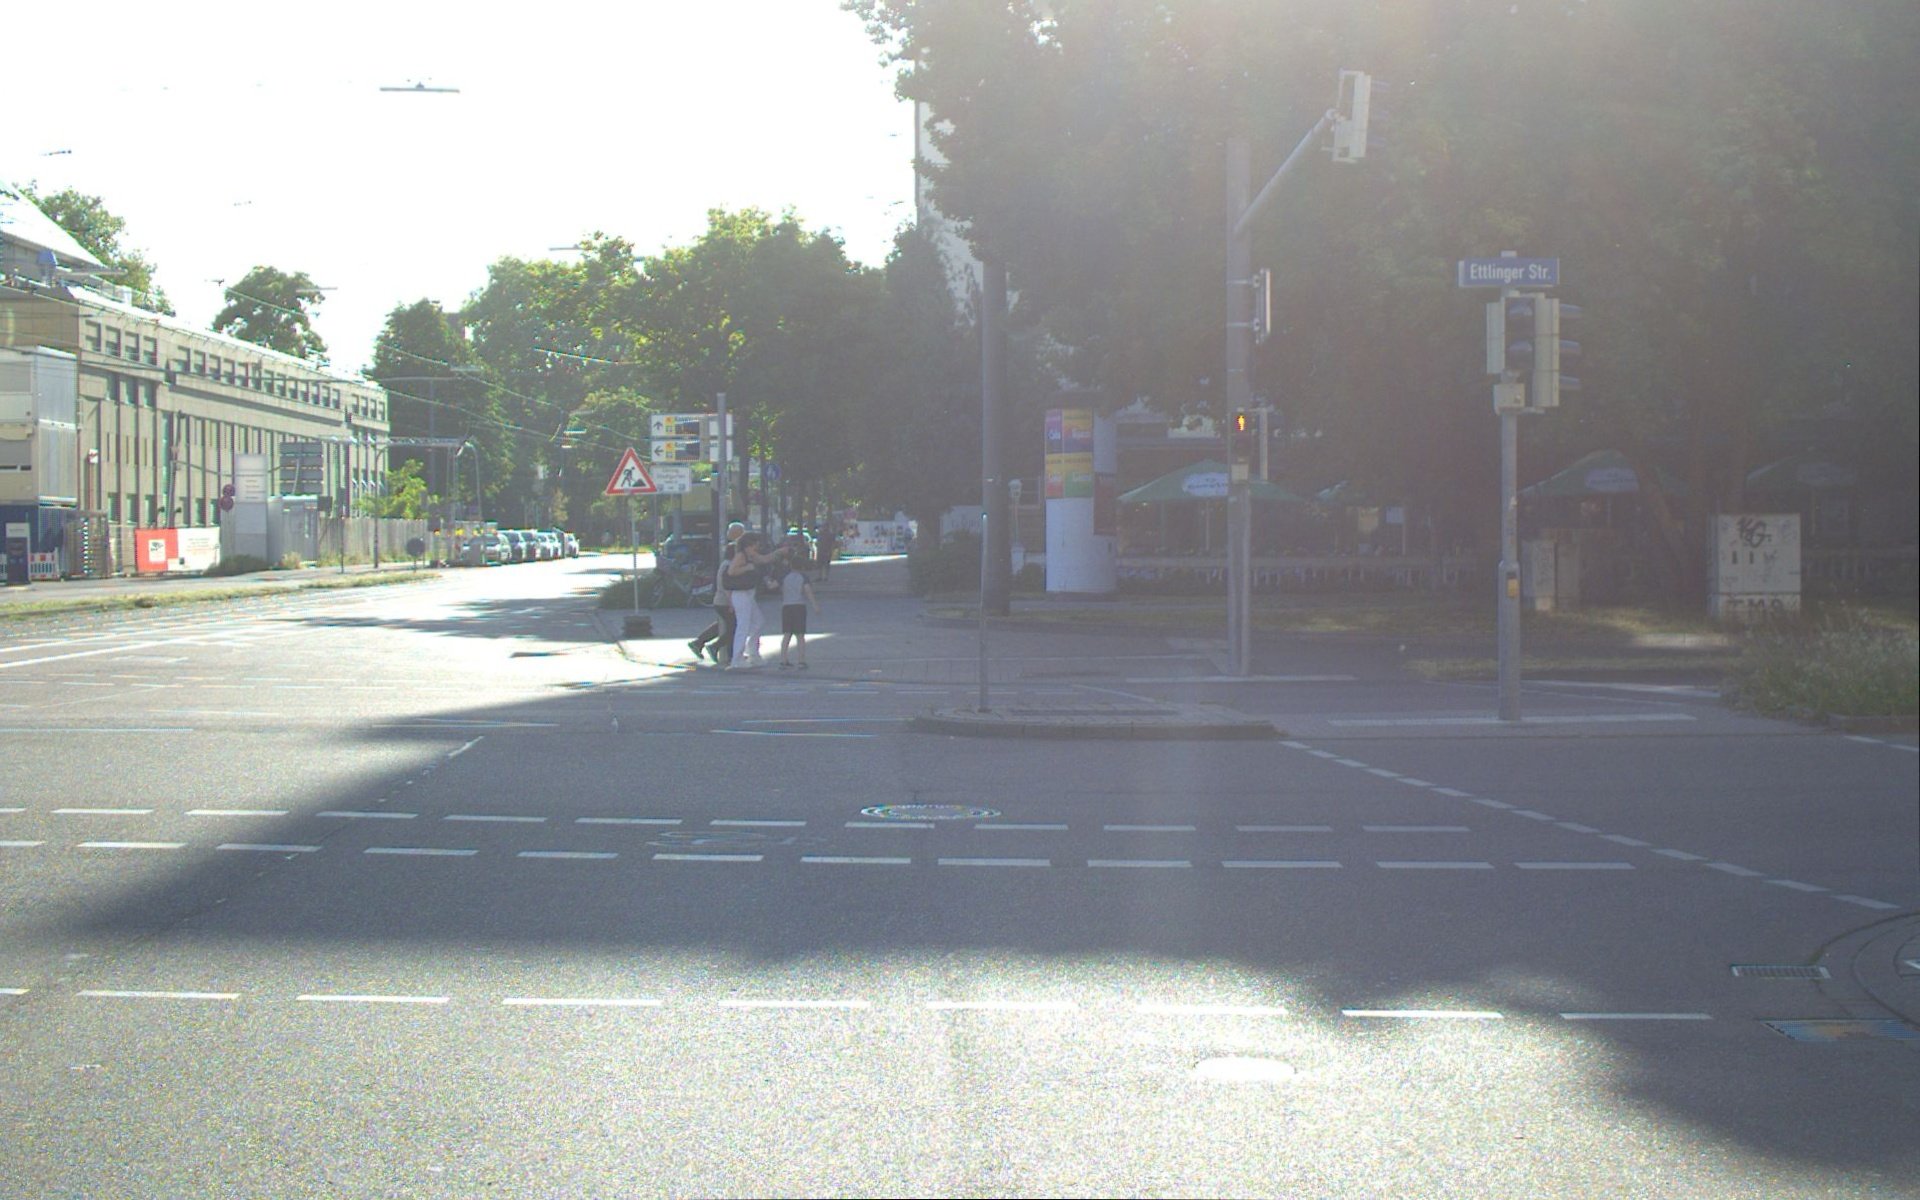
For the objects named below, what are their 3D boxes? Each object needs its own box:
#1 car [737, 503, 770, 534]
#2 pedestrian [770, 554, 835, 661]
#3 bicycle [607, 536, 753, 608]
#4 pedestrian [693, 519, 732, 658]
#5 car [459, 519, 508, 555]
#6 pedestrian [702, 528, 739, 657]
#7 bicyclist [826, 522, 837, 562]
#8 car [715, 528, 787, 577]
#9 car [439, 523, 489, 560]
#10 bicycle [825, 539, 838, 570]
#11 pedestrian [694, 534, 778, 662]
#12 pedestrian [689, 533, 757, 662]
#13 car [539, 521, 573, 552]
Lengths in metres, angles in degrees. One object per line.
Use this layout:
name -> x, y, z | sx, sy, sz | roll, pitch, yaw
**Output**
car -> -13.511, -5.317, 225.058 | 1.993, 2.007, 4.000 | -1, 1, -1
pedestrian -> -1.974, 0.087, 43.155 | 0.740, 1.328, 0.754 | 0, 1, 2
bicycle -> -5.468, -0.548, 67.140 | 2.748, 1.363, 0.630 | 1, 0, 11
pedestrian -> -3.214, -0.157, 44.654 | 0.361, 1.798, 0.506 | 0, 1, 11
car -> -22.173, -2.935, 160.069 | 1.731, 1.647, 4.000 | 0, 1, -1
pedestrian -> -3.094, -0.102, 44.338 | 0.441, 1.657, 0.376 | -1, 1, -1
bicyclist -> -3.674, -1.655, 98.374 | 0.318, 1.123, 0.291 | -1, 1, -1
car -> -5.538, -1.269, 91.349 | 1.819, 1.274, 4.001 | 0, 1, -3
car -> -22.519, -2.644, 156.102 | 1.731, 1.647, 4.000 | 0, 1, -1
bicycle -> -3.675, -1.308, 98.474 | 0.324, 0.865, 1.483 | -1, 1, -1
pedestrian -> -2.816, -0.027, 43.307 | 0.984, 1.582, 0.660 | 0, 0, 1
pedestrian -> -3.017, -0.038, 43.800 | 0.795, 1.634, 0.533 | 0, 1, 2
car -> -22.820, -3.575, 194.388 | 1.483, 1.744, 4.000 | -1, 1, -1
